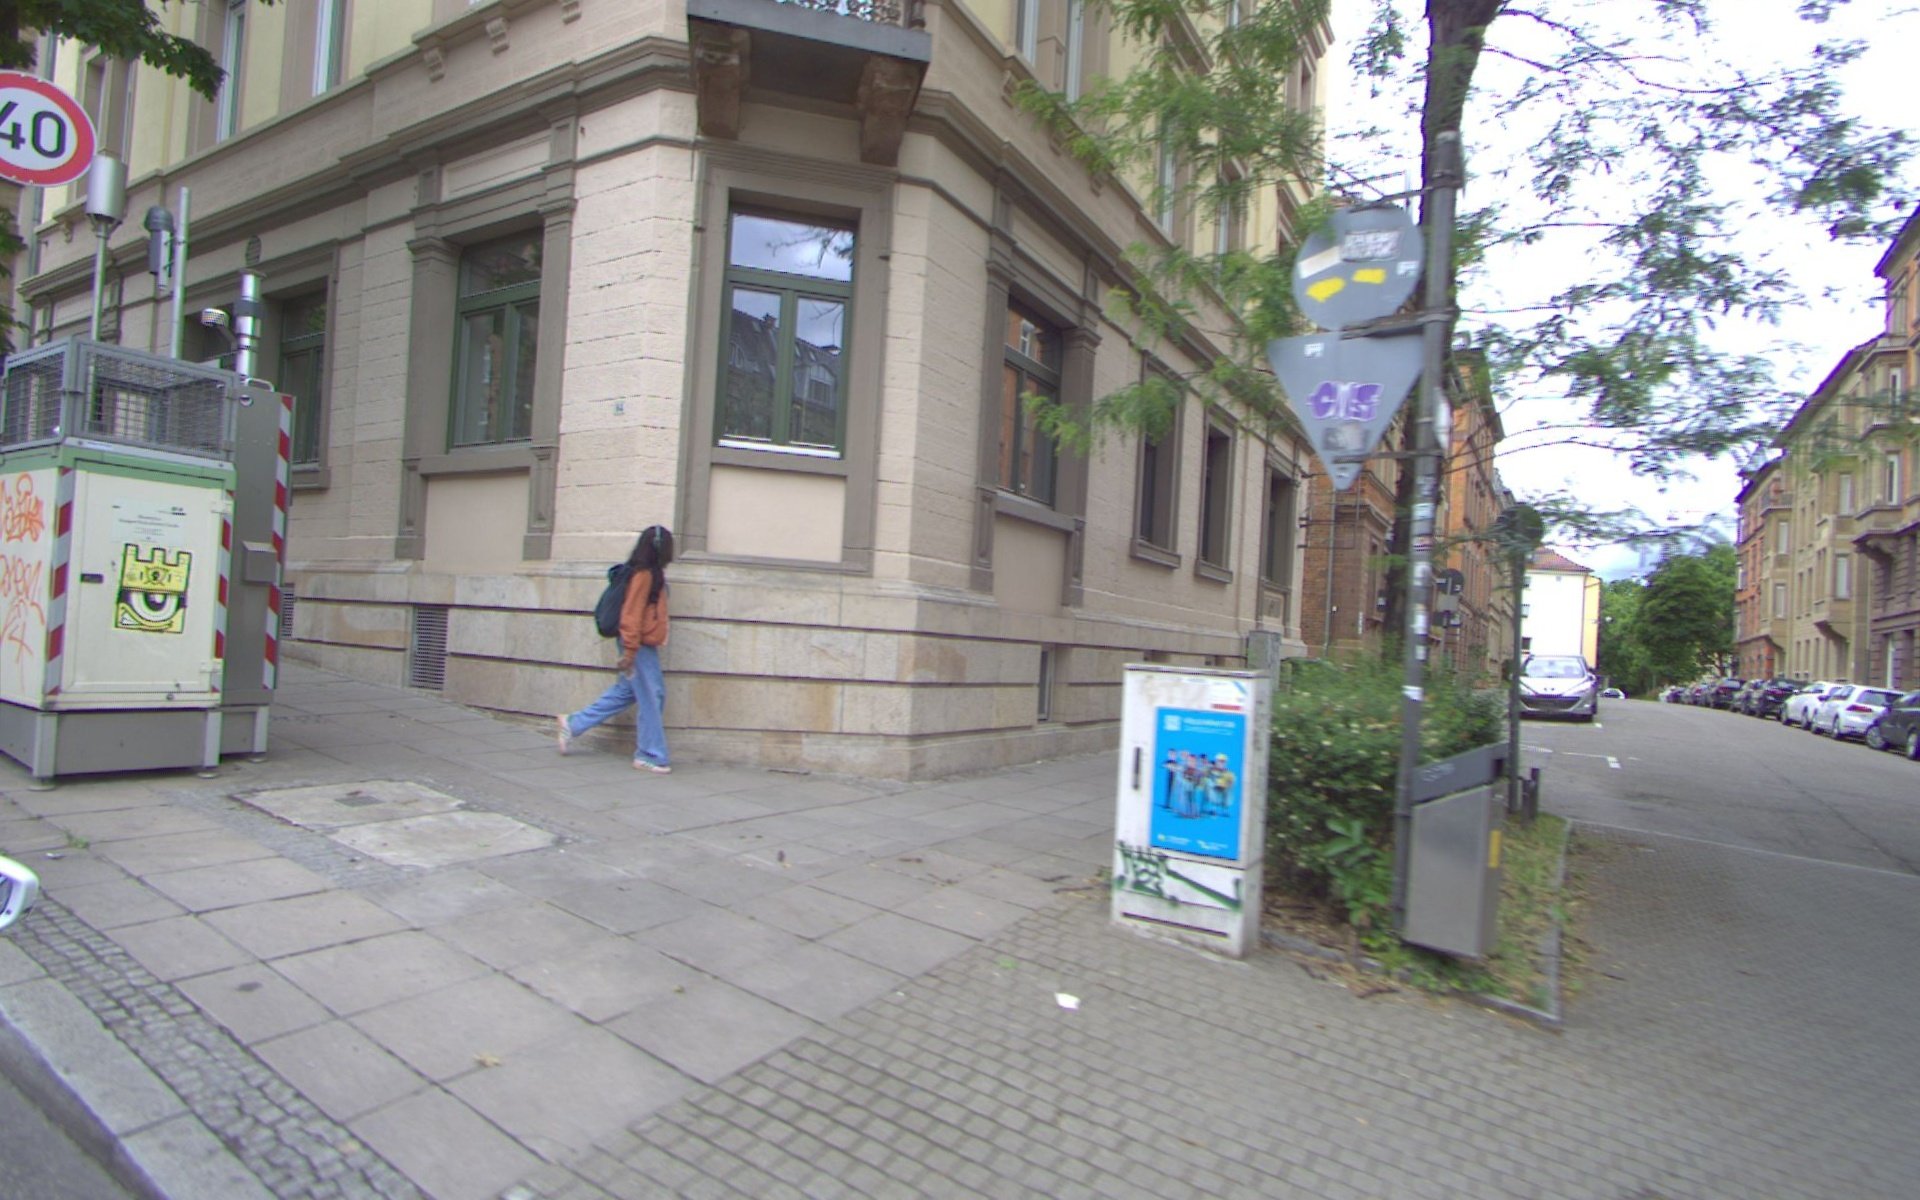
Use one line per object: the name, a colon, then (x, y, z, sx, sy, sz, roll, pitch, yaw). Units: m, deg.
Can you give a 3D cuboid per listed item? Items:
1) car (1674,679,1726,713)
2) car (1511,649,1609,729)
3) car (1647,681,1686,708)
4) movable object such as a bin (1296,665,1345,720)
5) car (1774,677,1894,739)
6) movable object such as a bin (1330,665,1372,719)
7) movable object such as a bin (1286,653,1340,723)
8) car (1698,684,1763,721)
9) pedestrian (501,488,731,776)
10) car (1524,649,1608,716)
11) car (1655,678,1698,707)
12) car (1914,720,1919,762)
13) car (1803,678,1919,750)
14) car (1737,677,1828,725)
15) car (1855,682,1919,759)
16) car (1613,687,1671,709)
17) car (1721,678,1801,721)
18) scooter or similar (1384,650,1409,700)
car: (40.767, 5.245, 55.522, 1.781, 1.397, 4.033, 7, 2, 30)
car: (14.696, 2.099, 24.699, 1.781, 1.492, 4.088, 7, 2, 31)
car: (49.769, 6.641, 70.932, 1.781, 1.397, 4.033, 7, 2, 30)
movable object such as a bin: (6.276, 1.595, 17.507, 0.619, 0.864, 0.600, 7, 2, 32)
car: (25.437, 3.090, 29.432, 1.781, 1.396, 4.035, 7, 1, 30)
movable object such as a bin: (7.166, 1.679, 18.430, 0.539, 0.893, 0.488, 7, 2, 32)
movable object such as a bin: (5.931, 1.461, 16.899, 0.619, 1.082, 0.663, 7, 2, 32)
car: (35.803, 4.732, 46.854, 1.781, 1.396, 4.037, 7, 0, 30)
pedestrian: (-2.249, 0.206, 6.687, 1.106, 1.683, 0.712, 7, 1, 1)
car: (17.333, 2.295, 28.847, 1.781, 1.492, 4.088, 7, 2, 31)
car: (46.881, 6.011, 65.864, 1.781, 1.397, 4.033, 7, 2, 30)
car: (17.691, 2.338, 16.611, 1.781, 1.397, 4.088, 7, 2, 30)
car: (22.673, 2.796, 25.068, 1.781, 1.396, 4.035, 7, 1, 30)
car: (29.540, 3.617, 36.251, 1.781, 1.395, 4.038, 7, -1, 30)
car: (20.465, 2.569, 20.989, 1.781, 1.396, 4.035, 7, 1, 30)
car: (64.767, 9.306, 95.625, 4.021, 1.493, 1.810, 6, 2, 8)
car: (31.917, 3.961, 40.183, 1.781, 1.395, 4.039, 7, -1, 30)
scooter or similar: (11.166, 1.906, 25.735, 0.320, 1.220, 1.114, 6, 1, 31)
